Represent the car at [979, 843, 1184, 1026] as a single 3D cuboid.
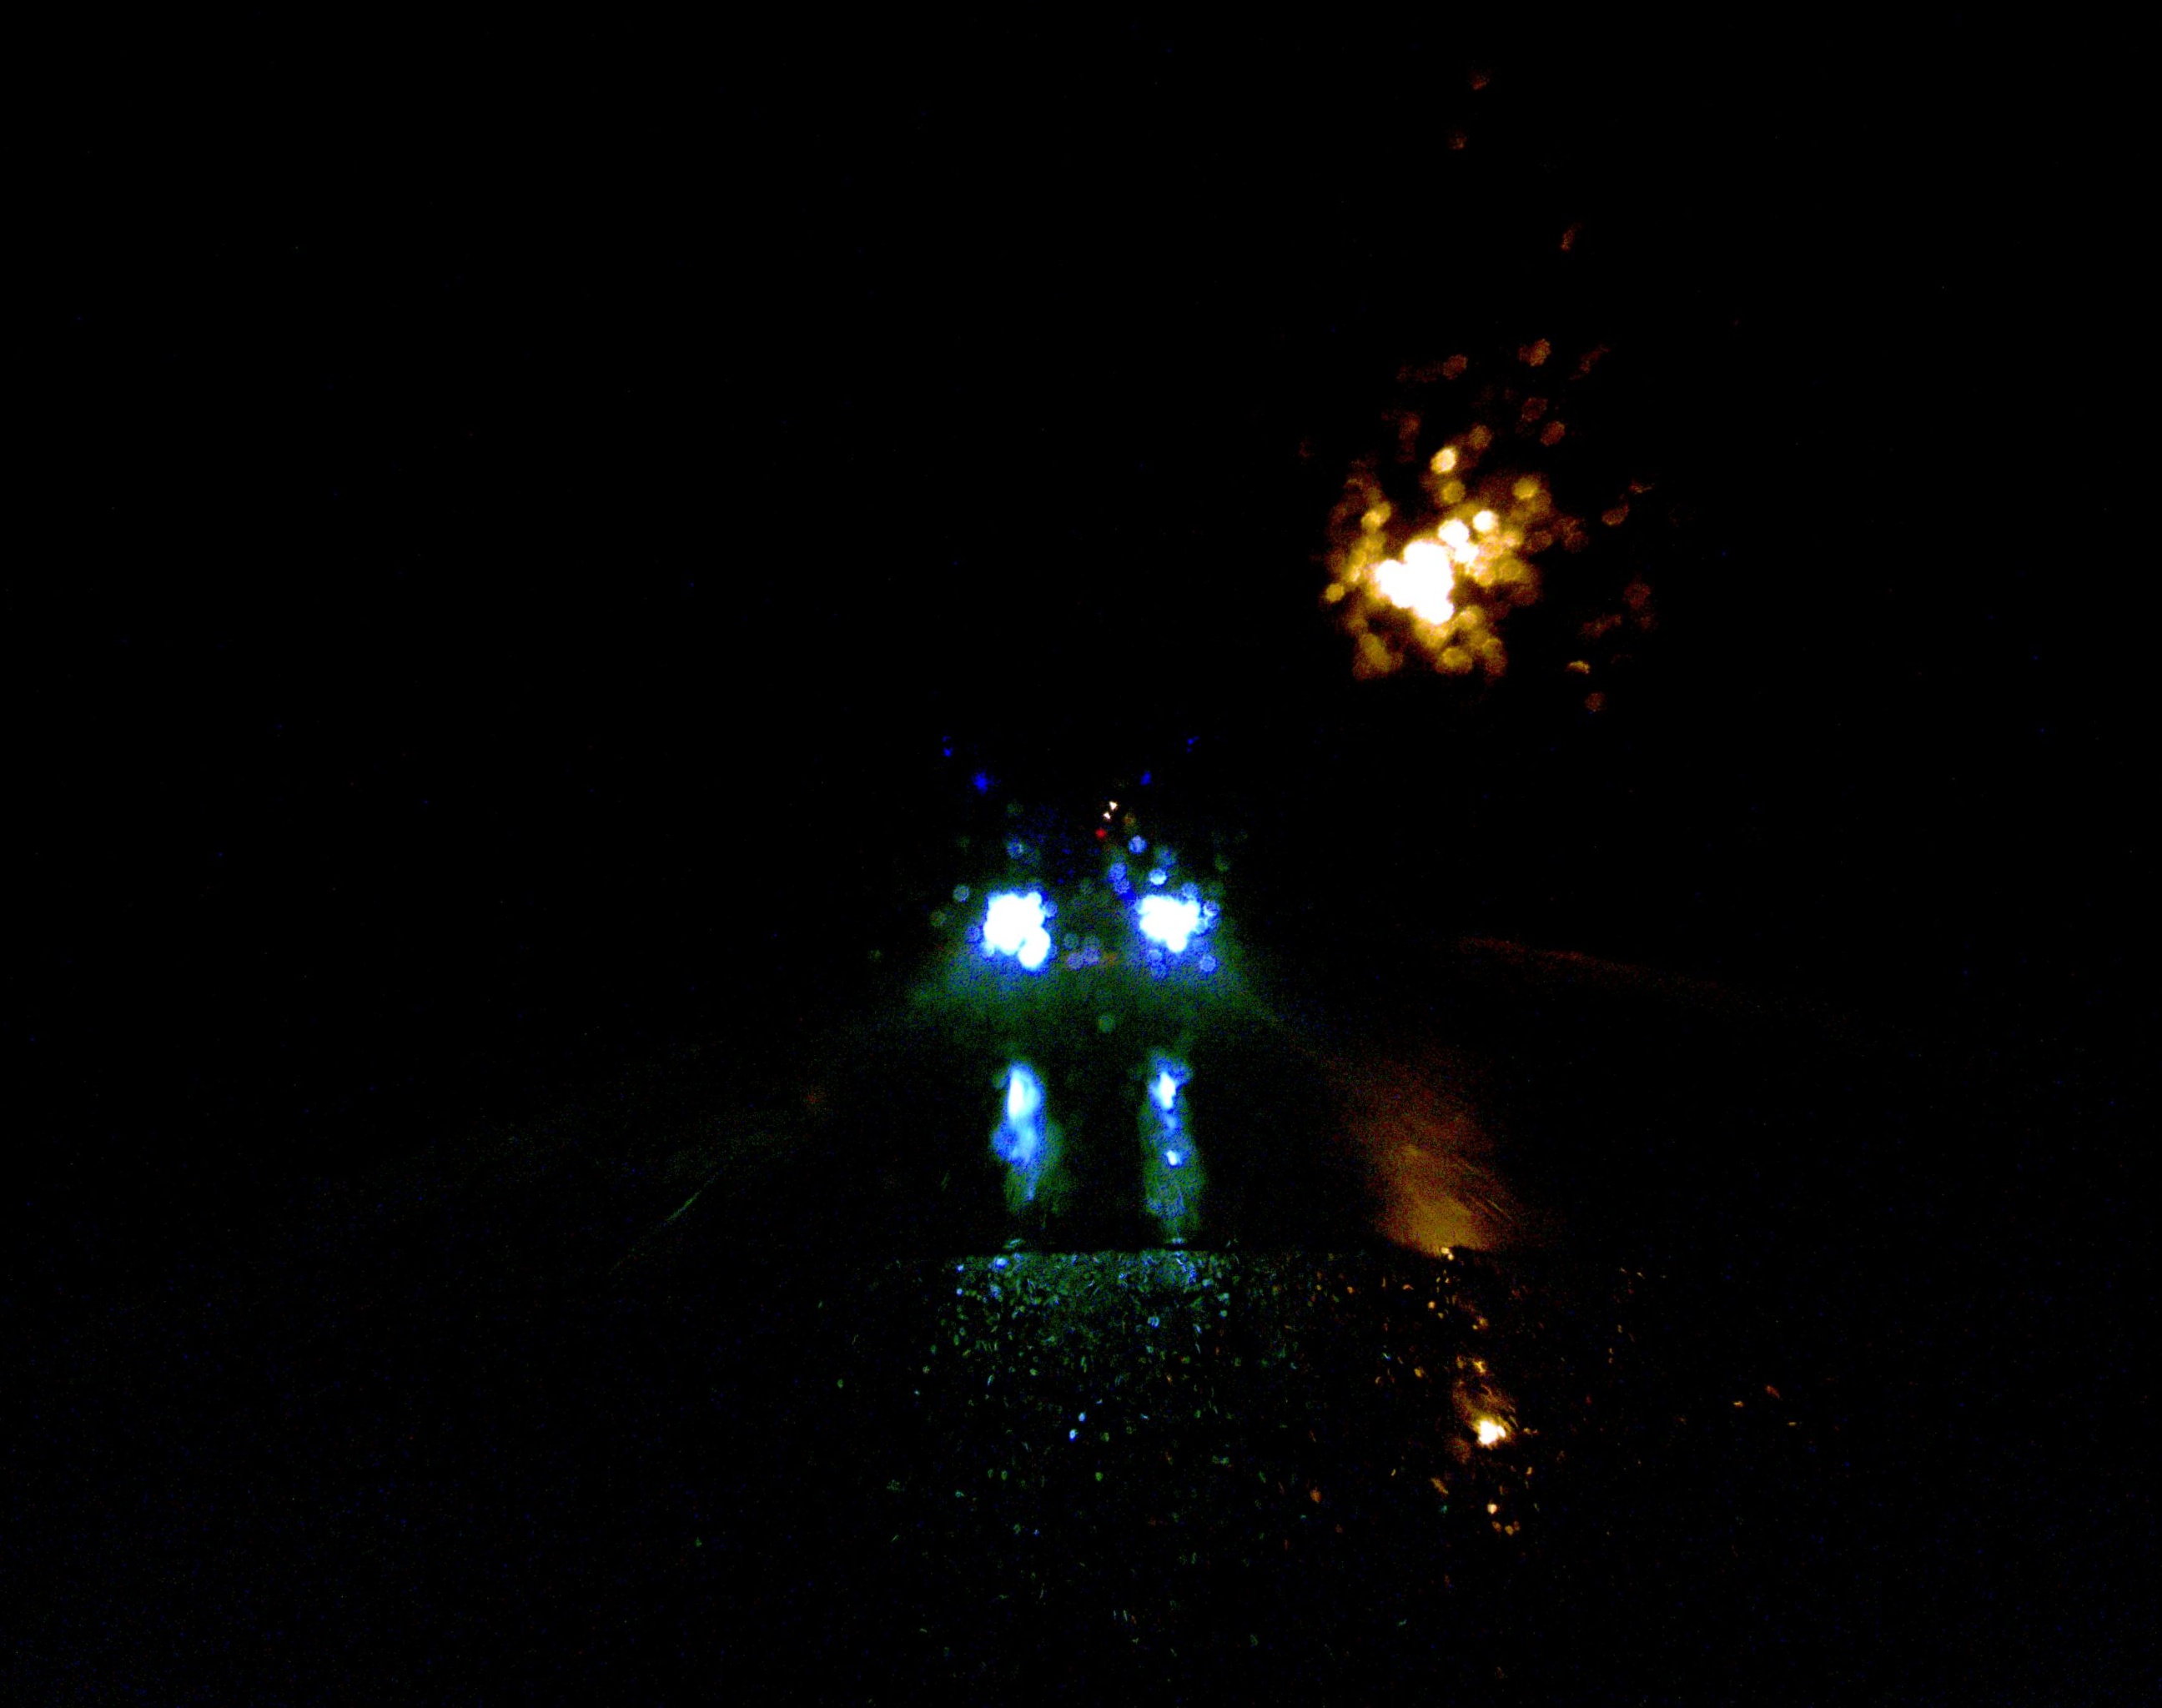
[{"bbox_3d":[0.115,0.735,9.308,1.893,1.678,4.339,-1,1,3],"label":"car"}]
